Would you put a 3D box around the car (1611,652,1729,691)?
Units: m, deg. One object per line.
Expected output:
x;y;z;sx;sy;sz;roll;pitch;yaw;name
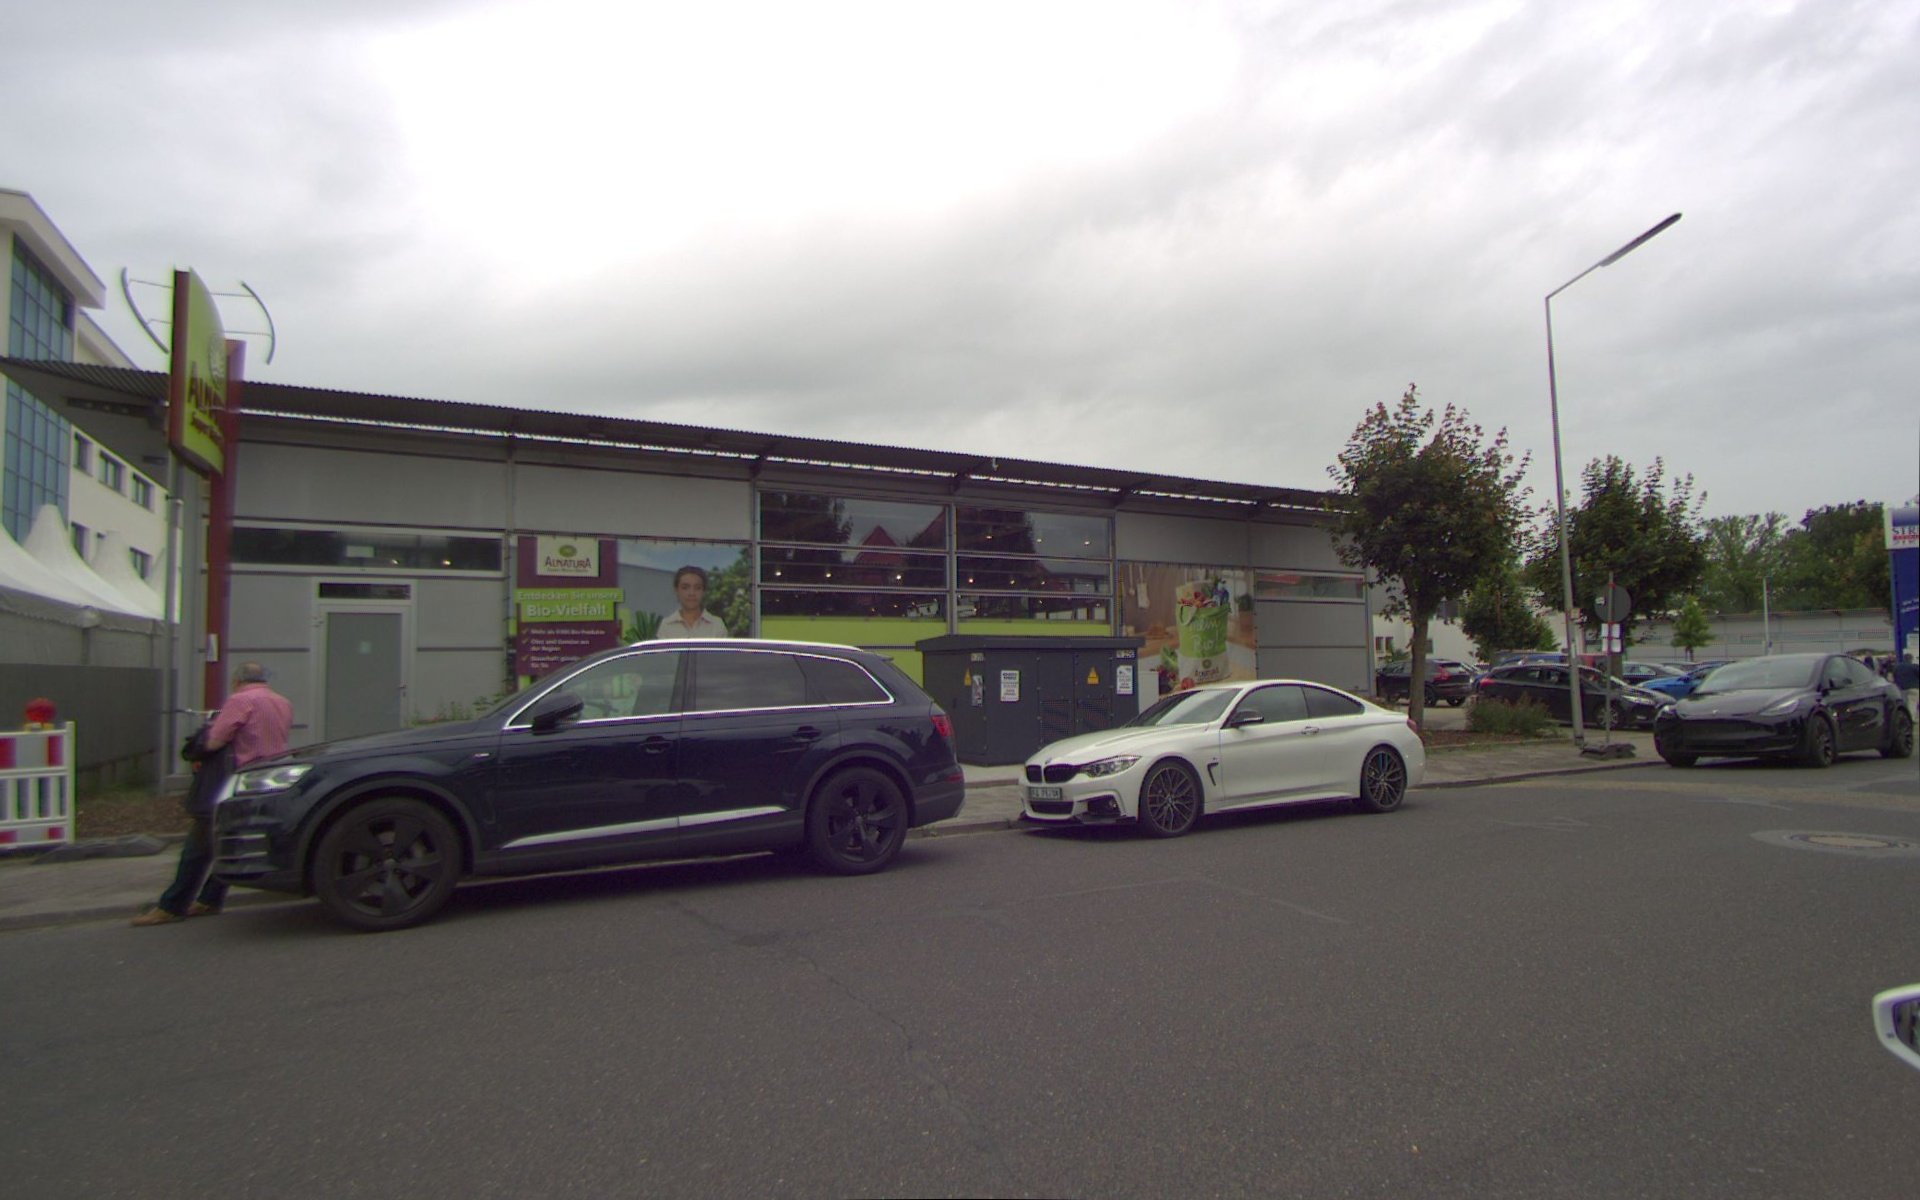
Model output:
32.317;3.272;45.851;1.853;1.690;3.973;1;-4;-28;car

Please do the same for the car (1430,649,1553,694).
21.093;2.828;40.013;1.853;1.690;3.973;1;-4;-28;car

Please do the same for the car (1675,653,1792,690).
36.712;3.393;47.769;1.853;1.690;3.973;1;-4;-28;car

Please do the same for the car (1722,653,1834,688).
41.749;3.614;51.347;1.853;1.690;3.973;1;-4;-28;car

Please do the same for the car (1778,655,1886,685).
46.442;3.714;53.574;1.763;1.511;3.974;1;-4;-27;car

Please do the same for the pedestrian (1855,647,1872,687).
38.055;2.823;42.320;0.450;1.663;0.372;-4;-5;44;pedestrian

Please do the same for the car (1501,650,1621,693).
25.307;3.019;42.437;1.853;1.690;3.973;1;-4;-28;car

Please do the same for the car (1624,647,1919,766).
12.182;1.569;14.997;4.351;1.545;1.939;2;-8;-30;car

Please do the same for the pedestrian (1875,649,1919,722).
23.062;2.081;24.587;0.689;1.737;0.771;2;-3;-32;pedestrian

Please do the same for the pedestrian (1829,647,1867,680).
54.983;3.946;62.209;1.361;2.039;1.211;-2;-4;22;pedestrian

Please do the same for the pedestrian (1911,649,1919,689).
38.777;2.793;40.674;0.500;1.590;0.327;2;-3;-40;pedestrian

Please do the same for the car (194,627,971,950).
-2.427;1.162;7.307;4.669;1.712;1.860;1;-7;-28;car

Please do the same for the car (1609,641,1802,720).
20.661;2.219;27.982;1.743;2.039;3.906;2;-5;-34;car

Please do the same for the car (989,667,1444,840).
2.655;1.464;10.176;4.463;1.384;1.693;2;-9;-29;car

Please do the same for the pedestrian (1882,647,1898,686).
38.731;2.774;41.846;0.500;1.590;0.356;2;-4;-39;pedestrian

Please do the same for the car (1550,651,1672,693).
27.925;3.089;43.187;1.853;1.690;3.973;1;-4;-28;car

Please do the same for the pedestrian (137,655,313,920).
-4.904;1.225;6.735;0.641;1.641;0.675;-5;-8;25;pedestrian

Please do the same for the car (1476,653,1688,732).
14.653;2.113;23.871;1.903;1.641;3.860;1;-3;-27;car

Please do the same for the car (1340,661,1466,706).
16.037;2.999;36.404;3.930;1.504;1.873;-3;-4;31;car

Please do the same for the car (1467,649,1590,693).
23.220;2.892;41.166;1.853;1.690;3.973;1;-4;-28;car

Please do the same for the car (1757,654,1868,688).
44.098;3.680;52.055;1.853;1.690;3.973;1;-4;-28;car
